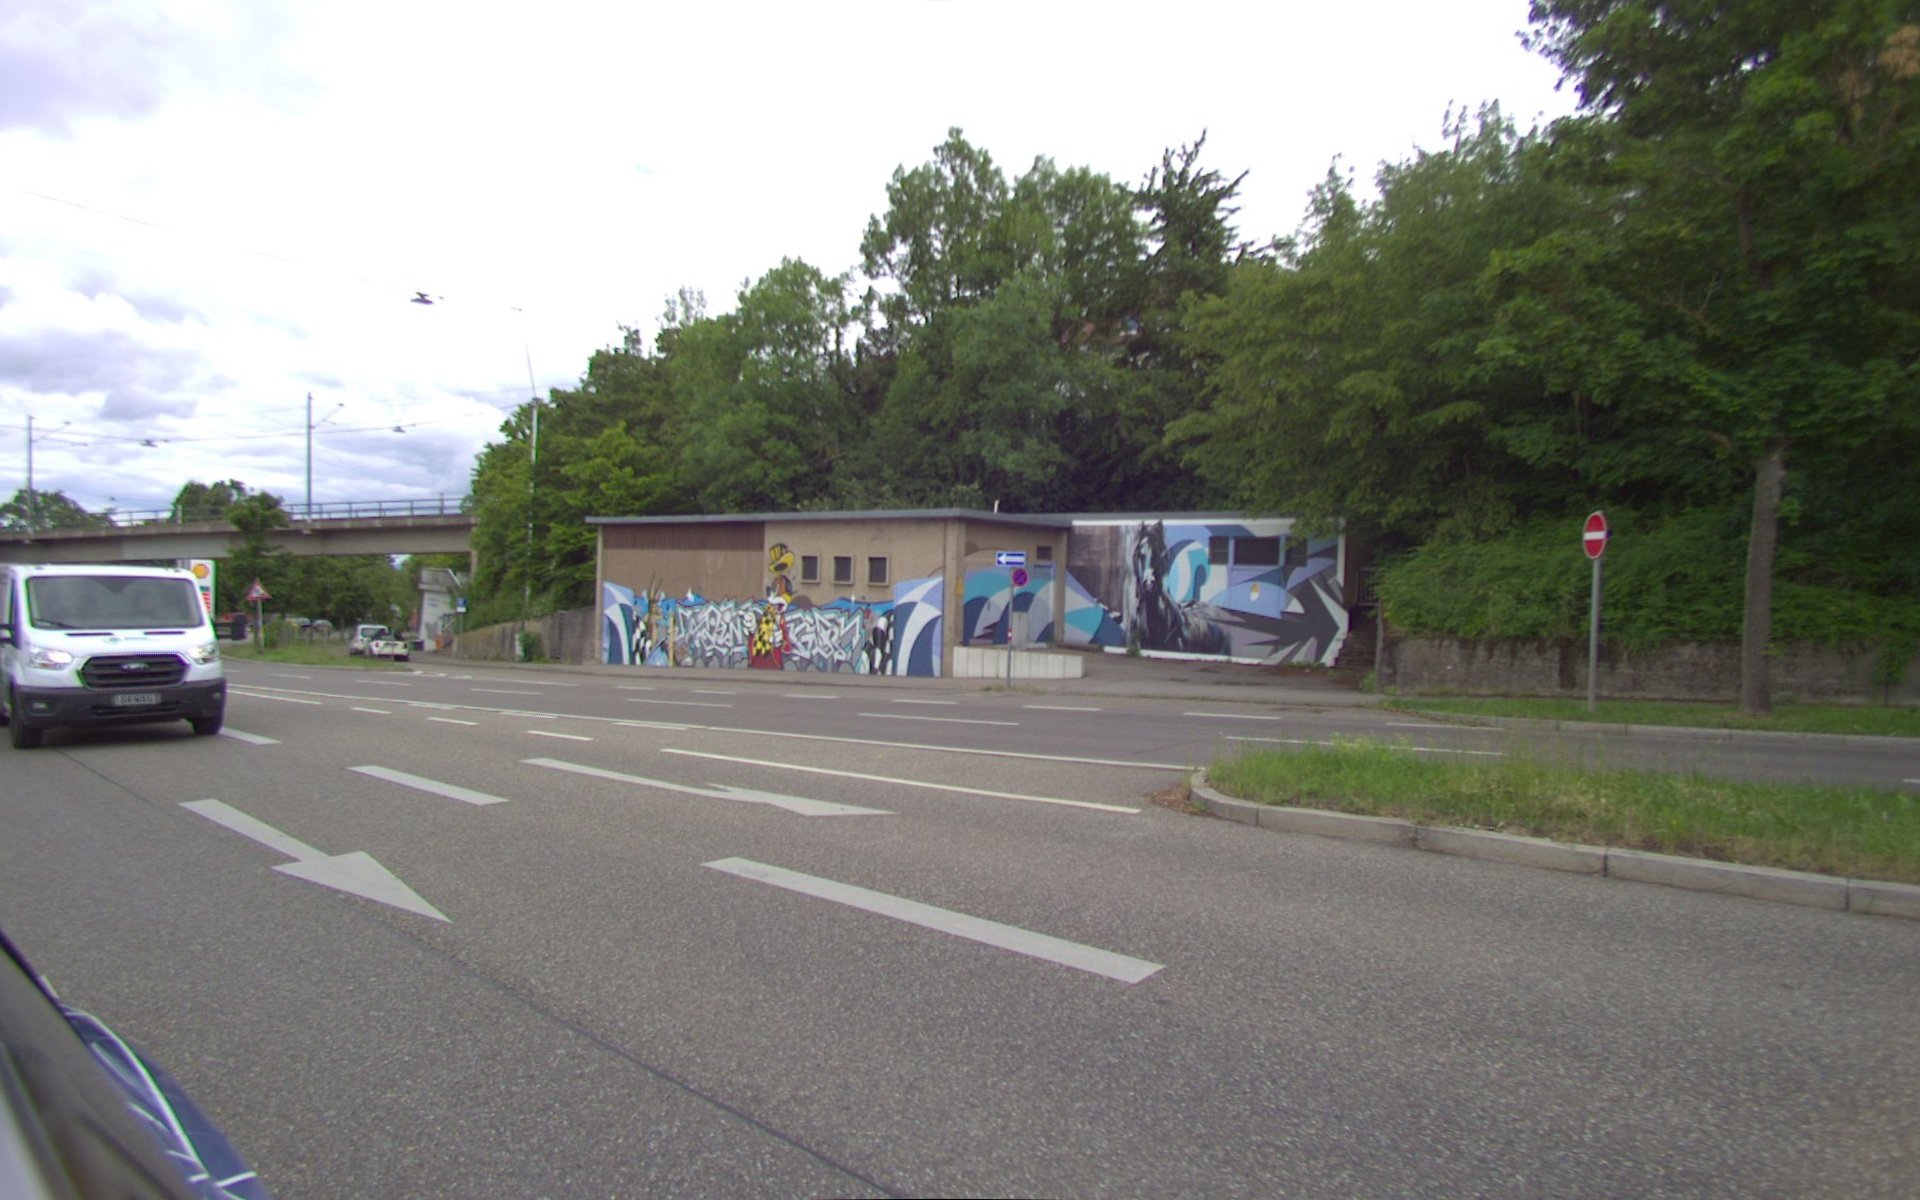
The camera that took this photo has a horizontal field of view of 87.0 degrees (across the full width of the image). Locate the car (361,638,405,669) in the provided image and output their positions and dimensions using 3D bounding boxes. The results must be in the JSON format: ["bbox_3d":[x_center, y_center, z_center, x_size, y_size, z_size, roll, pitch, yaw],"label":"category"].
[{"bbox_3d":[-29.580,2.693,51.813,1.610,1.431,4.010,-2,0,-34],"label":"car"}]

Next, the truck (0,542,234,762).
[{"bbox_3d":[-11.873,0.604,13.602,6.329,2.339,2.053,-1,-2,42],"label":"truck"}]

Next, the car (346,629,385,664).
[{"bbox_3d":[-33.433,2.572,56.880,1.610,1.817,4.010,-2,0,-34],"label":"car"}]
